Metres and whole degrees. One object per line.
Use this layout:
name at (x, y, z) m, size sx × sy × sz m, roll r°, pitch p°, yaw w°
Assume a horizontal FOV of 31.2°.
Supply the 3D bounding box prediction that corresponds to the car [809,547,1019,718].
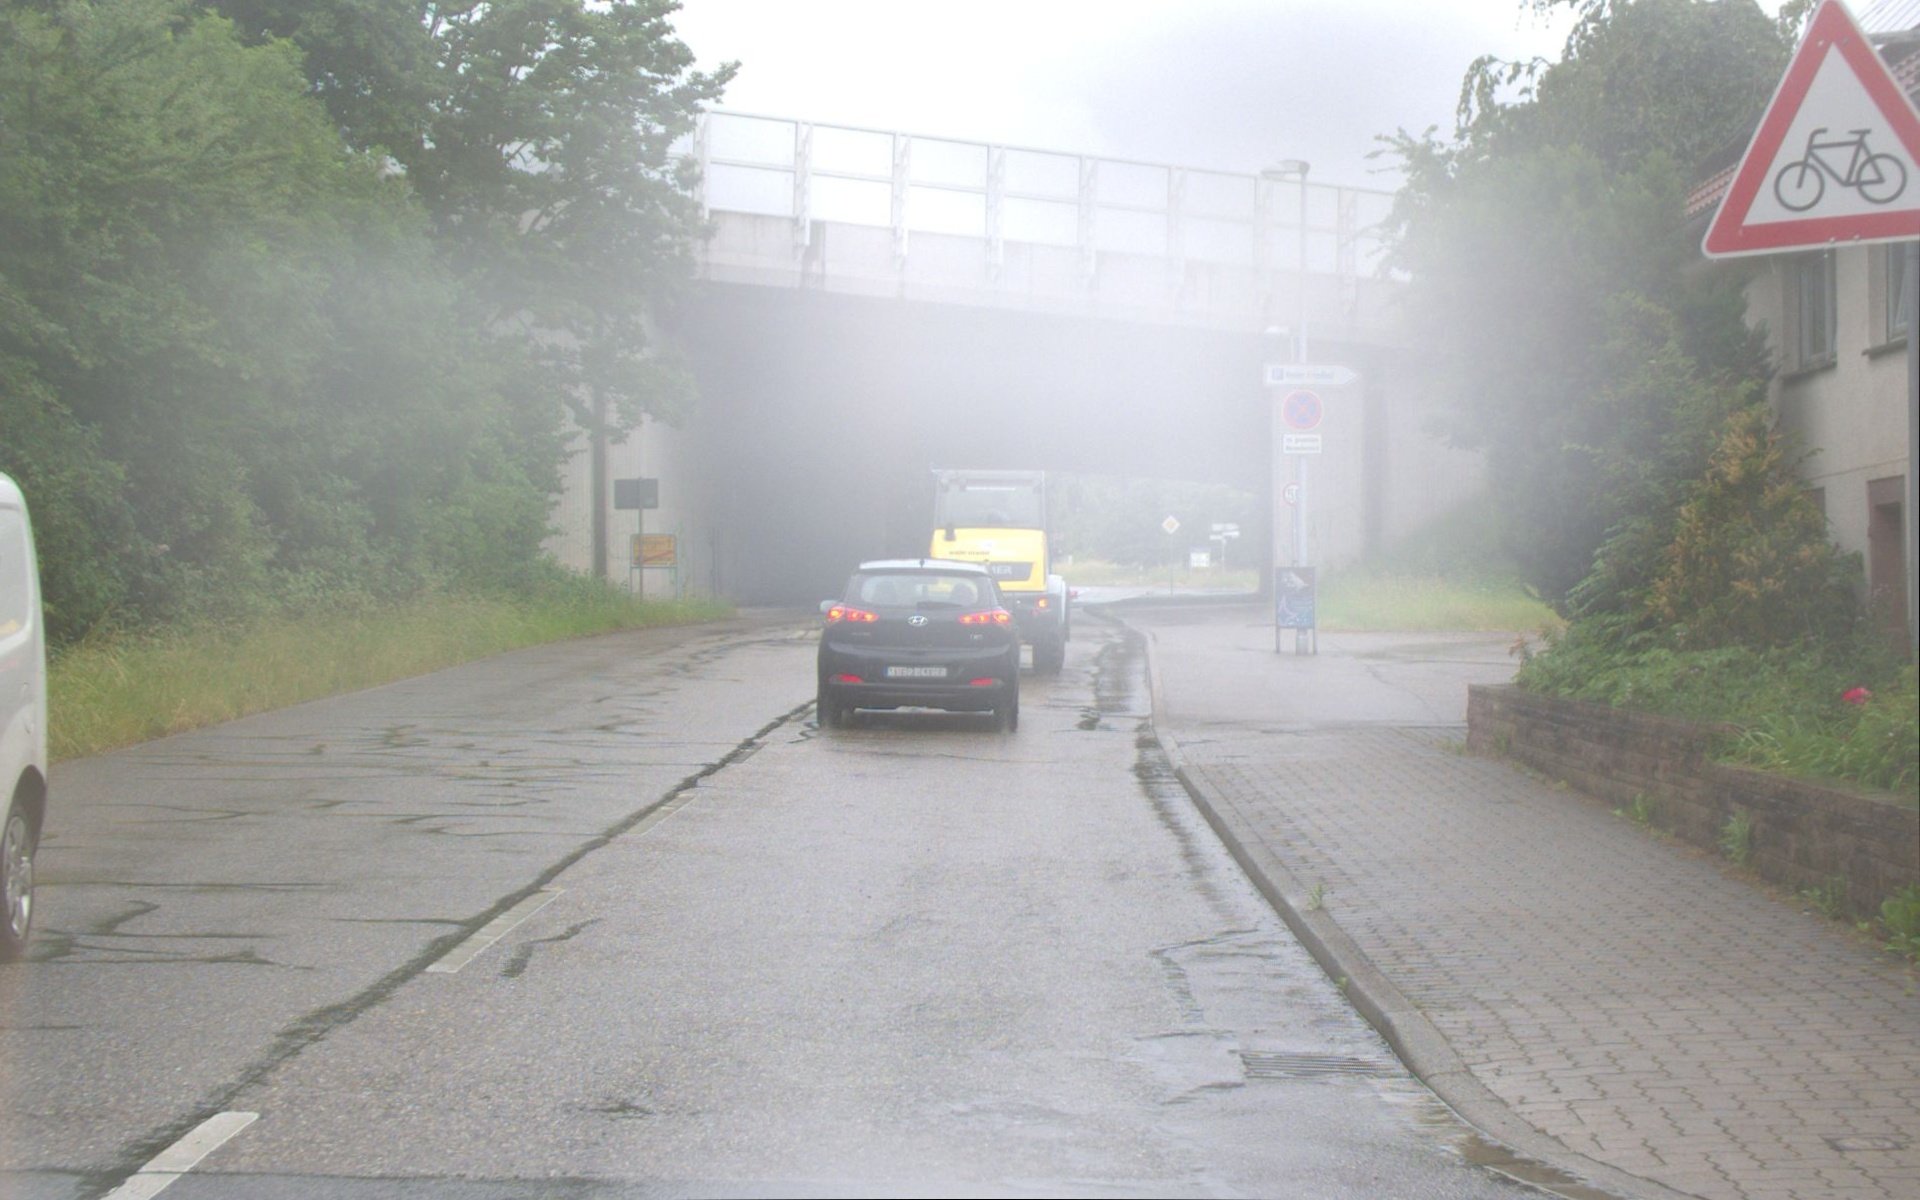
car at (-0.347, 0.255, 30.523) m, size 1.708 × 1.373 × 4.000 m, roll 2°, pitch 0°, yaw 1°

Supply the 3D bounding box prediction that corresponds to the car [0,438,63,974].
car at (-4.101, 0.360, 10.411) m, size 1.823 × 1.825 × 4.308 m, roll 1°, pitch 1°, yaw -3°

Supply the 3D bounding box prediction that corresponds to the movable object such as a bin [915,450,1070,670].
movable object such as a bin at (0.412, -0.487, 42.630) m, size 1.761 × 2.539 × 4.239 m, roll 2°, pitch 0°, yaw 1°
